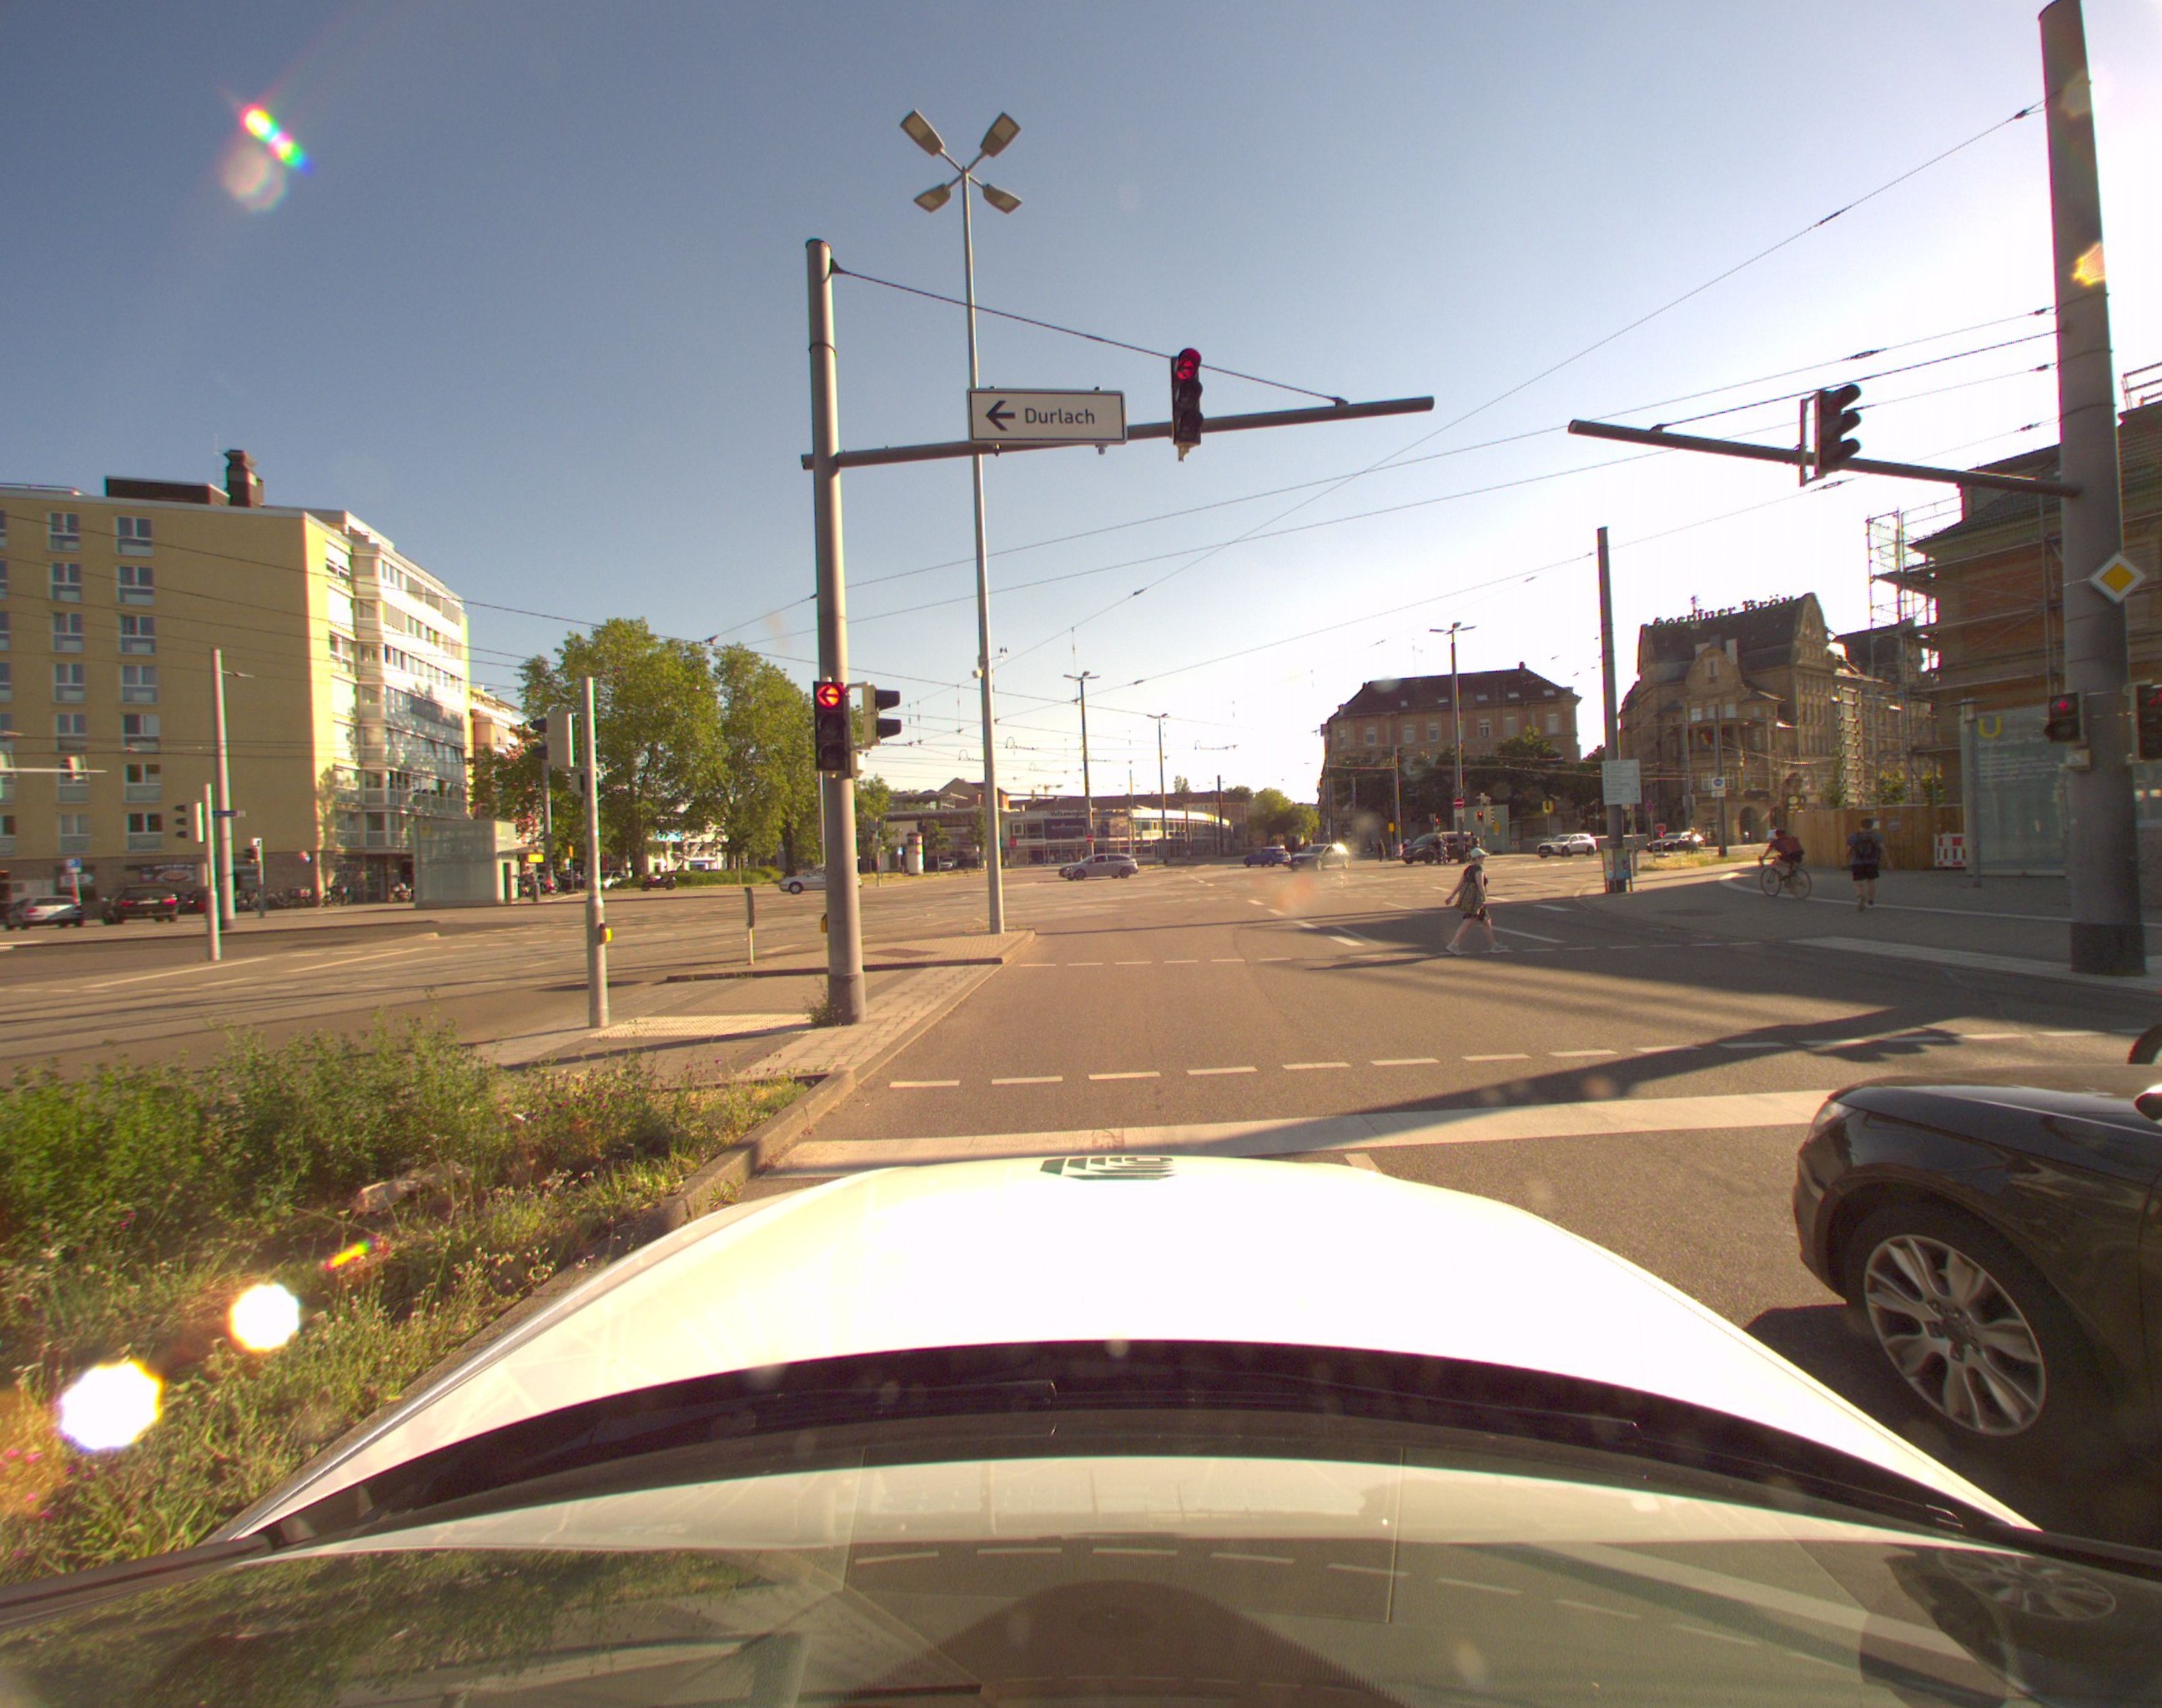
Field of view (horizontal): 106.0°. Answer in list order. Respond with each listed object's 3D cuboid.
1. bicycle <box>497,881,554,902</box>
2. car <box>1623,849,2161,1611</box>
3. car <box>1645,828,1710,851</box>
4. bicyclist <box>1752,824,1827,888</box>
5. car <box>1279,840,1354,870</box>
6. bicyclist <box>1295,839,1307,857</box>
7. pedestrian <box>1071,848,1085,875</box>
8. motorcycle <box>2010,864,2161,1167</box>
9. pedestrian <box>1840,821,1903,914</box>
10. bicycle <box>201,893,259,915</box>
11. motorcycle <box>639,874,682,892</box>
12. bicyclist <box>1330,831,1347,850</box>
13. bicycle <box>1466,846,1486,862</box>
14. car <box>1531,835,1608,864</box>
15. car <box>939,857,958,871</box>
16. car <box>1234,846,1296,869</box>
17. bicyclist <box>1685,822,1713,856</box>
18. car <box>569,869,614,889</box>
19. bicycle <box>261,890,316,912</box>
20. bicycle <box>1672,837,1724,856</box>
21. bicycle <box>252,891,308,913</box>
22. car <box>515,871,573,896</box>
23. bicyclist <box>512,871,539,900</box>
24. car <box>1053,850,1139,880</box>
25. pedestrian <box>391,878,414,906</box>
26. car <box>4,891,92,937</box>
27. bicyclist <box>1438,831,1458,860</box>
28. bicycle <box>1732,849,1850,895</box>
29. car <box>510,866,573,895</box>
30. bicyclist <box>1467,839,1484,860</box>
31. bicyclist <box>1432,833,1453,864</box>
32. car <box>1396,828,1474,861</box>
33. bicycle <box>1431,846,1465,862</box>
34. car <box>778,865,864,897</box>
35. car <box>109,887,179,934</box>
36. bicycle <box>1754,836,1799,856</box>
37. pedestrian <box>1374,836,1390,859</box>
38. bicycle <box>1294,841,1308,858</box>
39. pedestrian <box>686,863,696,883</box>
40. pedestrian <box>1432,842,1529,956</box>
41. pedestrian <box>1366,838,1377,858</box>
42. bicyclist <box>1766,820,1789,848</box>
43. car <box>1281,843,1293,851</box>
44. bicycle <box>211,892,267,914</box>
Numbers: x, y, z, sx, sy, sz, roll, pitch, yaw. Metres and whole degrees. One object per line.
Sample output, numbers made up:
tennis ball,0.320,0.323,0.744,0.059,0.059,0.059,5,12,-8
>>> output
bicycle,-31.231,2.092,45.812,2.441,1.003,0.958,-2,0,-14
car,2.966,0.719,1.098,1.795,1.444,3.977,-1,0,-1
car,44.746,-1.079,61.101,4.361,1.563,1.937,-2,2,-23
bicyclist,15.931,0.055,18.334,0.717,1.384,1.076,-1,-2,2
car,13.226,0.056,45.661,4.123,1.486,1.931,-2,0,-38
bicyclist,23.167,-0.627,85.658,1.110,1.900,1.079,-1,2,19
pedestrian,-0.207,0.514,57.026,0.986,1.816,0.920,-1,1,0
motorcycle,5.484,0.740,3.028,1.091,1.377,2.655,-1,0,3
pedestrian,14.873,0.248,15.344,0.690,1.671,0.834,-4,-1,40
bicycle,-47.019,2.752,45.031,2.047,1.090,0.772,-2,0,-18
motorcycle,-26.481,1.821,51.324,2.286,1.054,0.685,-2,2,-12
bicyclist,20.933,-1.092,66.198,0.927,1.559,0.854,-2,2,-21
bicycle,23.421,-0.011,48.338,0.850,0.905,2.316,-1,2,21
car,33.618,-0.328,56.043,4.852,1.799,1.940,-2,0,-21
car,-16.488,1.276,101.418,1.990,1.534,3.995,-1,2,-4
car,13.876,0.310,61.681,1.960,1.594,4.572,-2,0,-30
bicyclist,31.090,-0.746,41.000,0.747,1.690,0.855,-2,2,-19
car,-37.991,1.919,63.323,1.850,1.452,3.981,-2,0,-14
bicycle,-45.234,2.666,46.507,2.047,1.090,0.772,-2,0,-18
bicycle,31.059,-0.408,40.989,2.501,0.874,0.854,-2,2,-20
bicycle,-44.940,2.683,45.716,2.047,1.090,0.772,-2,0,-18
car,-45.622,2.475,69.206,4.016,1.857,1.834,-2,2,-33
bicyclist,-31.229,1.780,45.815,0.925,1.559,0.958,-2,0,-14
car,0.877,0.615,47.198,4.559,1.517,1.941,-2,0,-20
pedestrian,-41.741,2.328,50.072,0.777,1.676,0.778,-2,0,-15
car,-46.494,2.666,36.634,3.949,1.748,1.851,0,2,30
bicyclist,21.705,-0.507,48.147,0.654,1.690,0.850,-2,2,-38
bicycle,15.942,0.411,18.381,0.717,0.952,2.250,-1,-1,2
car,-42.624,2.077,64.429,4.015,2.013,1.979,-2,0,-33
bicyclist,23.370,-0.266,48.234,0.850,1.176,0.718,-1,2,21
bicyclist,21.208,-0.315,47.768,0.587,1.778,0.857,-2,0,-38
car,22.488,-0.590,51.648,4.864,1.893,1.935,-2,0,-29
bicycle,21.722,-0.013,48.166,2.315,0.905,0.850,-3,2,-38
car,-13.507,1.389,42.453,4.105,1.452,1.942,-2,0,-18
car,-43.505,2.552,37.793,3.948,1.857,1.865,0,2,38
bicycle,42.105,-0.473,49.308,2.498,1.133,0.855,-2,2,-17
pedestrian,23.364,-0.509,63.230,0.921,1.676,0.783,-2,0,1
bicycle,23.182,-0.513,85.634,1.126,1.689,4.020,-1,2,18
pedestrian,-41.085,2.006,85.866,0.586,2.013,0.711,-2,0,1
pedestrian,5.928,0.641,12.116,1.092,1.606,0.697,-2,1,-9
pedestrian,24.396,-0.486,68.411,0.644,1.653,0.551,-2,0,-36
bicyclist,42.174,-1.209,49.319,0.650,1.690,0.855,-2,2,-16
car,44.698,-1.512,176.876,1.795,1.655,3.919,-1,2,1
bicycle,-47.354,2.736,45.834,2.047,1.090,0.772,-2,0,-18
